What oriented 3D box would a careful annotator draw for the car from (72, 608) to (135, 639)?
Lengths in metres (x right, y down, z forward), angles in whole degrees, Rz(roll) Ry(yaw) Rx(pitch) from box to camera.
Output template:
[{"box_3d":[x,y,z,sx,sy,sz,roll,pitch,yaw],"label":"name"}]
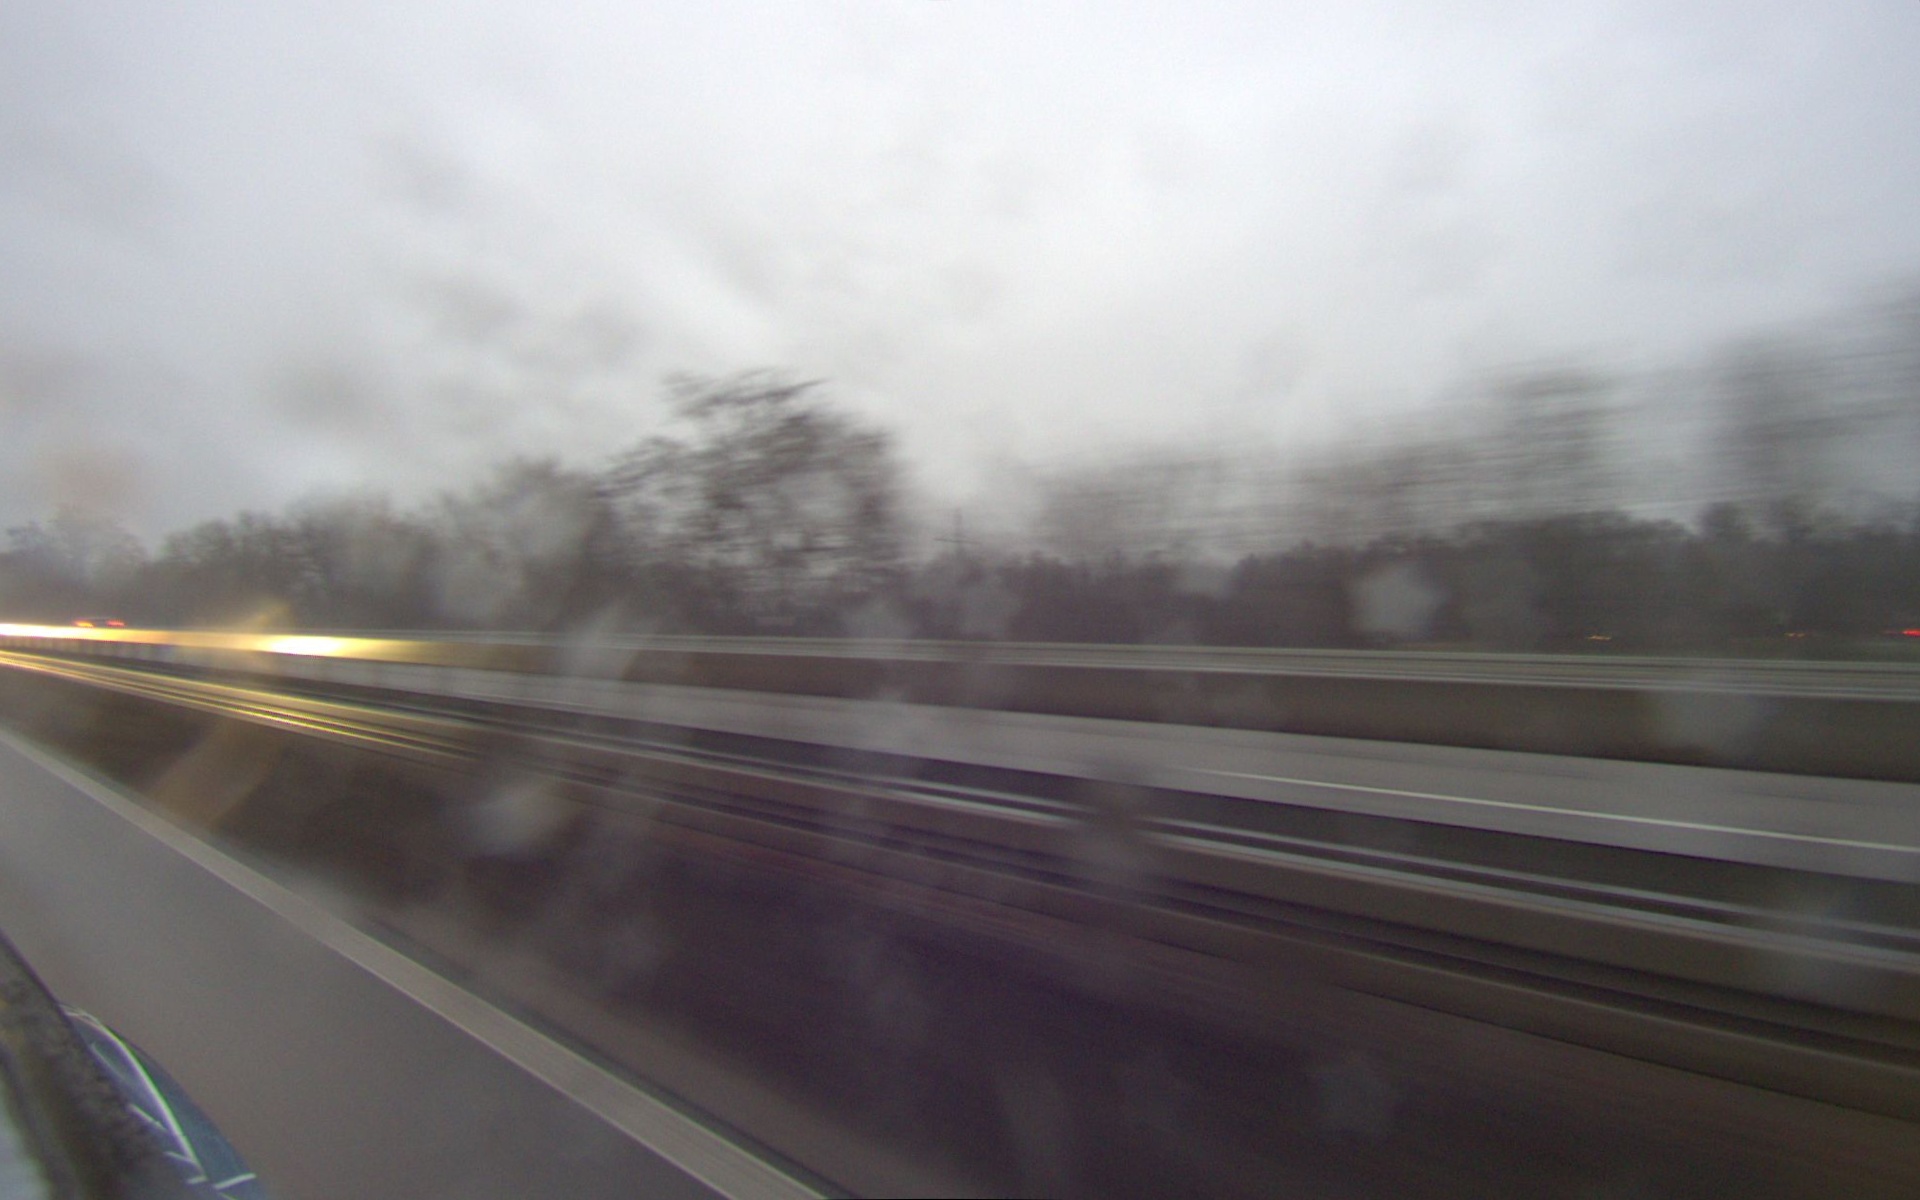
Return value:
[{"box_3d":[-41.102,1.132,48.526,3.541,1.434,1.585,-1,-2,38],"label":"car"}]
